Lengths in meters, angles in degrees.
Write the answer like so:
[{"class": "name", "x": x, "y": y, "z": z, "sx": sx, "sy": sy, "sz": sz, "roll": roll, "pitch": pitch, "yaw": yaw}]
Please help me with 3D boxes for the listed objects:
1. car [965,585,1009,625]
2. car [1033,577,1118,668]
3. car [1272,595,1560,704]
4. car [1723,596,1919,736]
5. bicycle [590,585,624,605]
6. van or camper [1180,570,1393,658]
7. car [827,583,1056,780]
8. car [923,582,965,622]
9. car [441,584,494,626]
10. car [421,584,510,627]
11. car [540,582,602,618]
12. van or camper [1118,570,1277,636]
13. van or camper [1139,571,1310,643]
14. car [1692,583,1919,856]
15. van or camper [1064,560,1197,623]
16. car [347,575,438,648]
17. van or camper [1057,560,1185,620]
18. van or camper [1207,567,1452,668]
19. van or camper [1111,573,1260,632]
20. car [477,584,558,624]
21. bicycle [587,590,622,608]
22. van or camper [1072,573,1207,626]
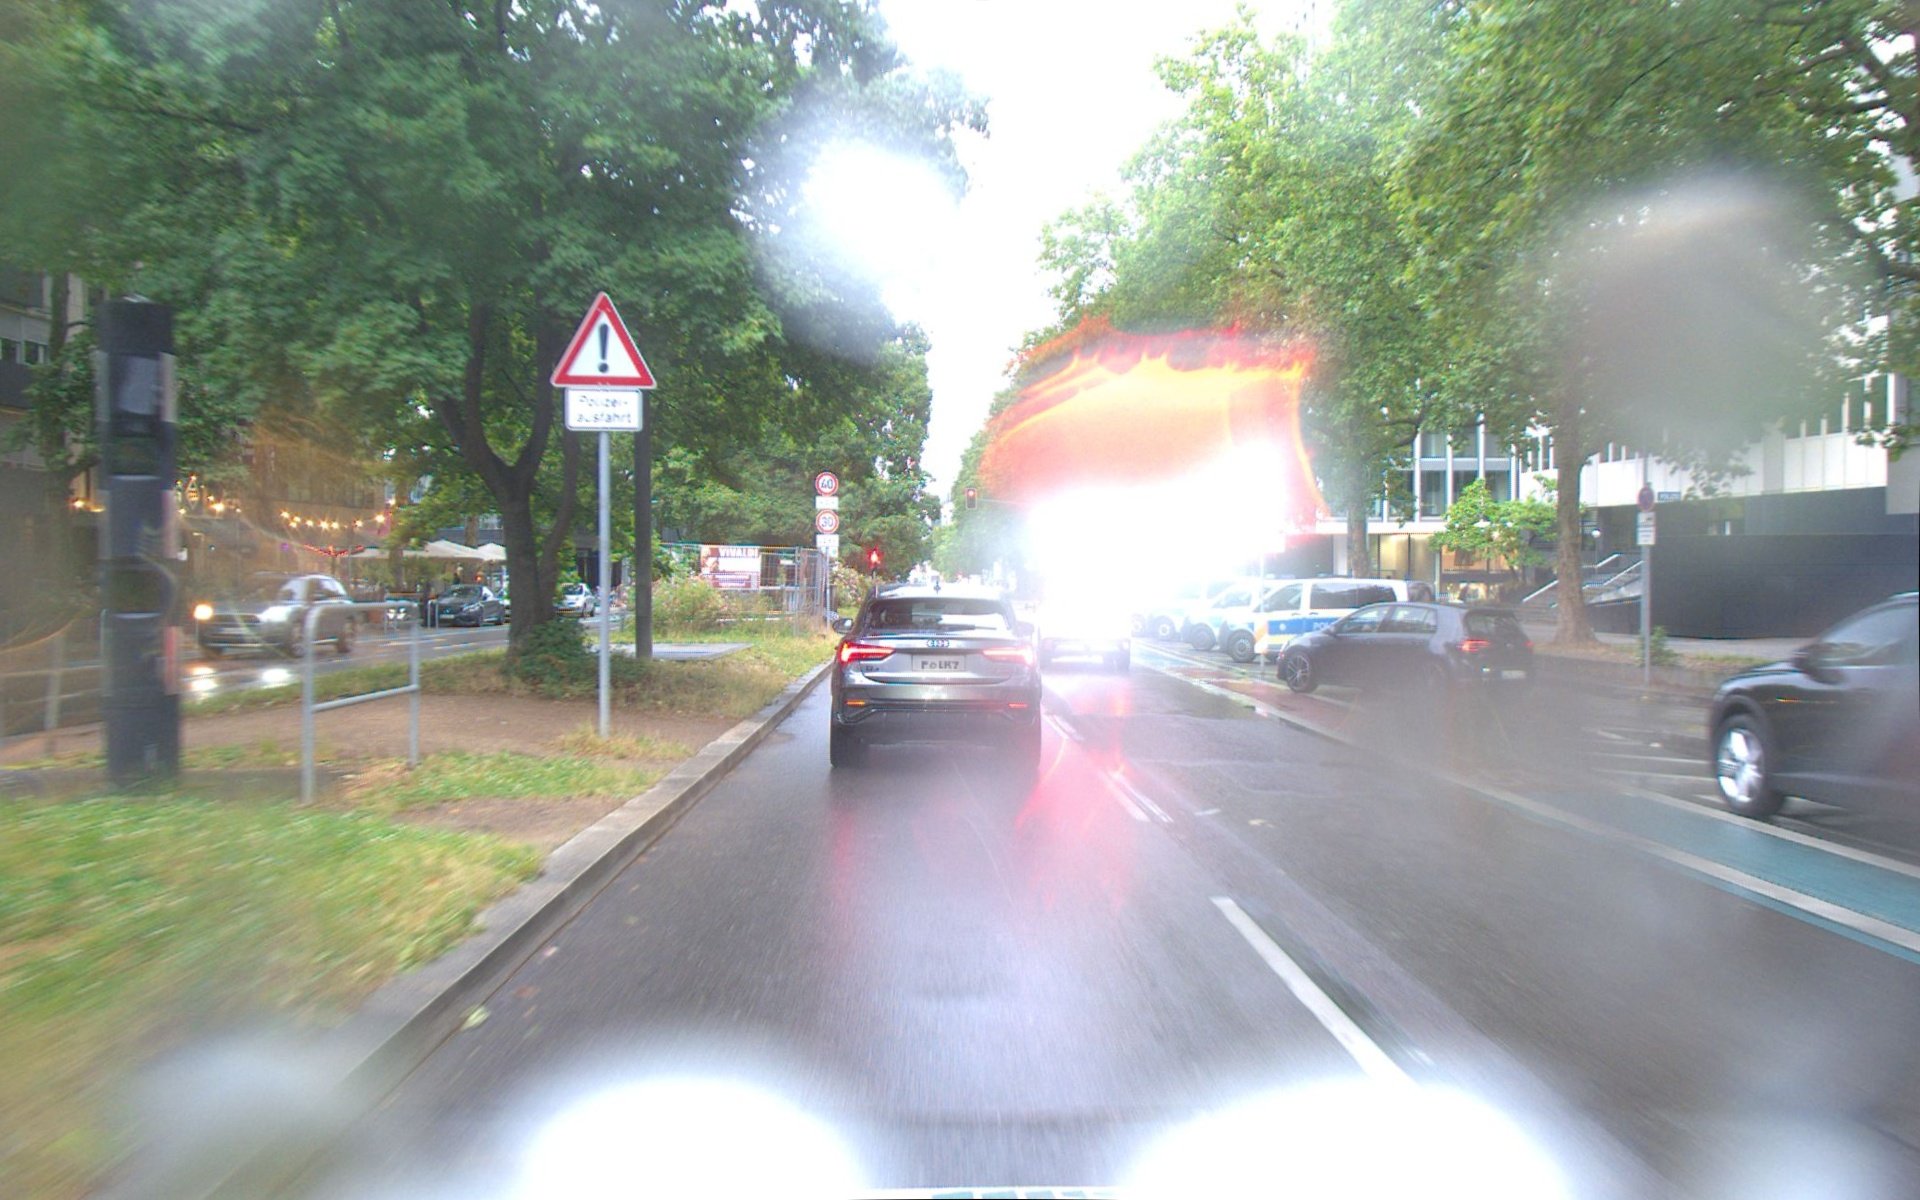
[{"class": "car", "x": 1.244, "y": 0.210, "z": 77.398, "sx": 1.953, "sy": 1.780, "sz": 3.999, "roll": 0, "pitch": 1, "yaw": -1}, {"class": "car", "x": 2.240, "y": 0.404, "z": 32.595, "sx": 1.404, "sy": 1.714, "sz": 2.978, "roll": 0, "pitch": 1, "yaw": -1}, {"class": "car", "x": 6.651, "y": 0.657, "z": 24.480, "sx": 1.750, "sy": 1.437, "sz": 3.952, "roll": -1, "pitch": 1, "yaw": -34}, {"class": "car", "x": 11.068, "y": 0.792, "z": 18.250, "sx": 1.850, "sy": 1.470, "sz": 4.444, "roll": 5, "pitch": -2, "yaw": -40}, {"class": "bicycle", "x": -19.771, "y": -0.270, "z": 92.605, "sx": 1.810, "sy": 1.117, "sz": 0.613, "roll": 0, "pitch": 0, "yaw": -9}, {"class": "van or camper", "x": 8.357, "y": 0.318, "z": 42.580, "sx": 4.986, "sy": 2.054, "sz": 1.990, "roll": 2, "pitch": 1, "yaw": 35}, {"class": "car", "x": -0.146, "y": 0.627, "z": 15.488, "sx": 1.825, "sy": 1.559, "sz": 4.526, "roll": 0, "pitch": 1, "yaw": 0}, {"class": "car", "x": -0.694, "y": 0.074, "z": 69.153, "sx": 1.687, "sy": 1.605, "sz": 3.961, "roll": 0, "pitch": 1, "yaw": -2}, {"class": "car", "x": -16.738, "y": 0.153, "z": 56.312, "sx": 1.029, "sy": 1.412, "sz": 2.693, "roll": 0, "pitch": 1, "yaw": -1}, {"class": "car", "x": -17.016, "y": 0.157, "z": 57.130, "sx": 1.788, "sy": 1.419, "sz": 4.483, "roll": 0, "pitch": 0, "yaw": -1}, {"class": "car", "x": -17.486, "y": -0.017, "z": 74.620, "sx": 1.954, "sy": 1.535, "sz": 4.515, "roll": 0, "pitch": 1, "yaw": -3}, {"class": "van or camper", "x": 7.664, "y": 0.070, "z": 53.510, "sx": 4.697, "sy": 2.046, "sz": 1.993, "roll": 1, "pitch": 0, "yaw": 35}, {"class": "van or camper", "x": 7.910, "y": 0.179, "z": 49.684, "sx": 4.757, "sy": 2.033, "sz": 1.861, "roll": 1, "pitch": 0, "yaw": 36}, {"class": "car", "x": 6.594, "y": 0.731, "z": 10.495, "sx": 1.757, "sy": 1.631, "sz": 4.422, "roll": 1, "pitch": 0, "yaw": -3}, {"class": "van or camper", "x": 7.578, "y": -0.408, "z": 74.024, "sx": 5.692, "sy": 2.727, "sz": 1.994, "roll": 0, "pitch": 0, "yaw": 34}, {"class": "car", "x": -13.681, "y": 0.246, "z": 40.053, "sx": 1.690, "sy": 1.654, "sz": 4.425, "roll": 1, "pitch": 1, "yaw": -14}, {"class": "van or camper", "x": 7.514, "y": -0.492, "z": 77.472, "sx": 5.700, "sy": 2.724, "sz": 2.139, "roll": 1, "pitch": 0, "yaw": 36}, {"class": "van or camper", "x": 8.036, "y": 0.339, "z": 36.216, "sx": 4.850, "sy": 2.026, "sz": 1.994, "roll": 1, "pitch": 0, "yaw": 37}, {"class": "van or camper", "x": 8.194, "y": 0.074, "z": 60.258, "sx": 5.007, "sy": 2.060, "sz": 2.098, "roll": 1, "pitch": 1, "yaw": 37}, {"class": "car", "x": -17.091, "y": 0.120, "z": 64.102, "sx": 1.953, "sy": 1.394, "sz": 4.539, "roll": 2, "pitch": 1, "yaw": -1}, {"class": "bicycle", "x": -19.775, "y": -0.076, "z": 92.007, "sx": 1.808, "sy": 0.996, "sz": 0.565, "roll": 0, "pitch": 0, "yaw": -4}, {"class": "van or camper", "x": 7.281, "y": -0.016, "z": 67.400, "sx": 5.101, "sy": 2.027, "sz": 1.994, "roll": 1, "pitch": 0, "yaw": 33}]
